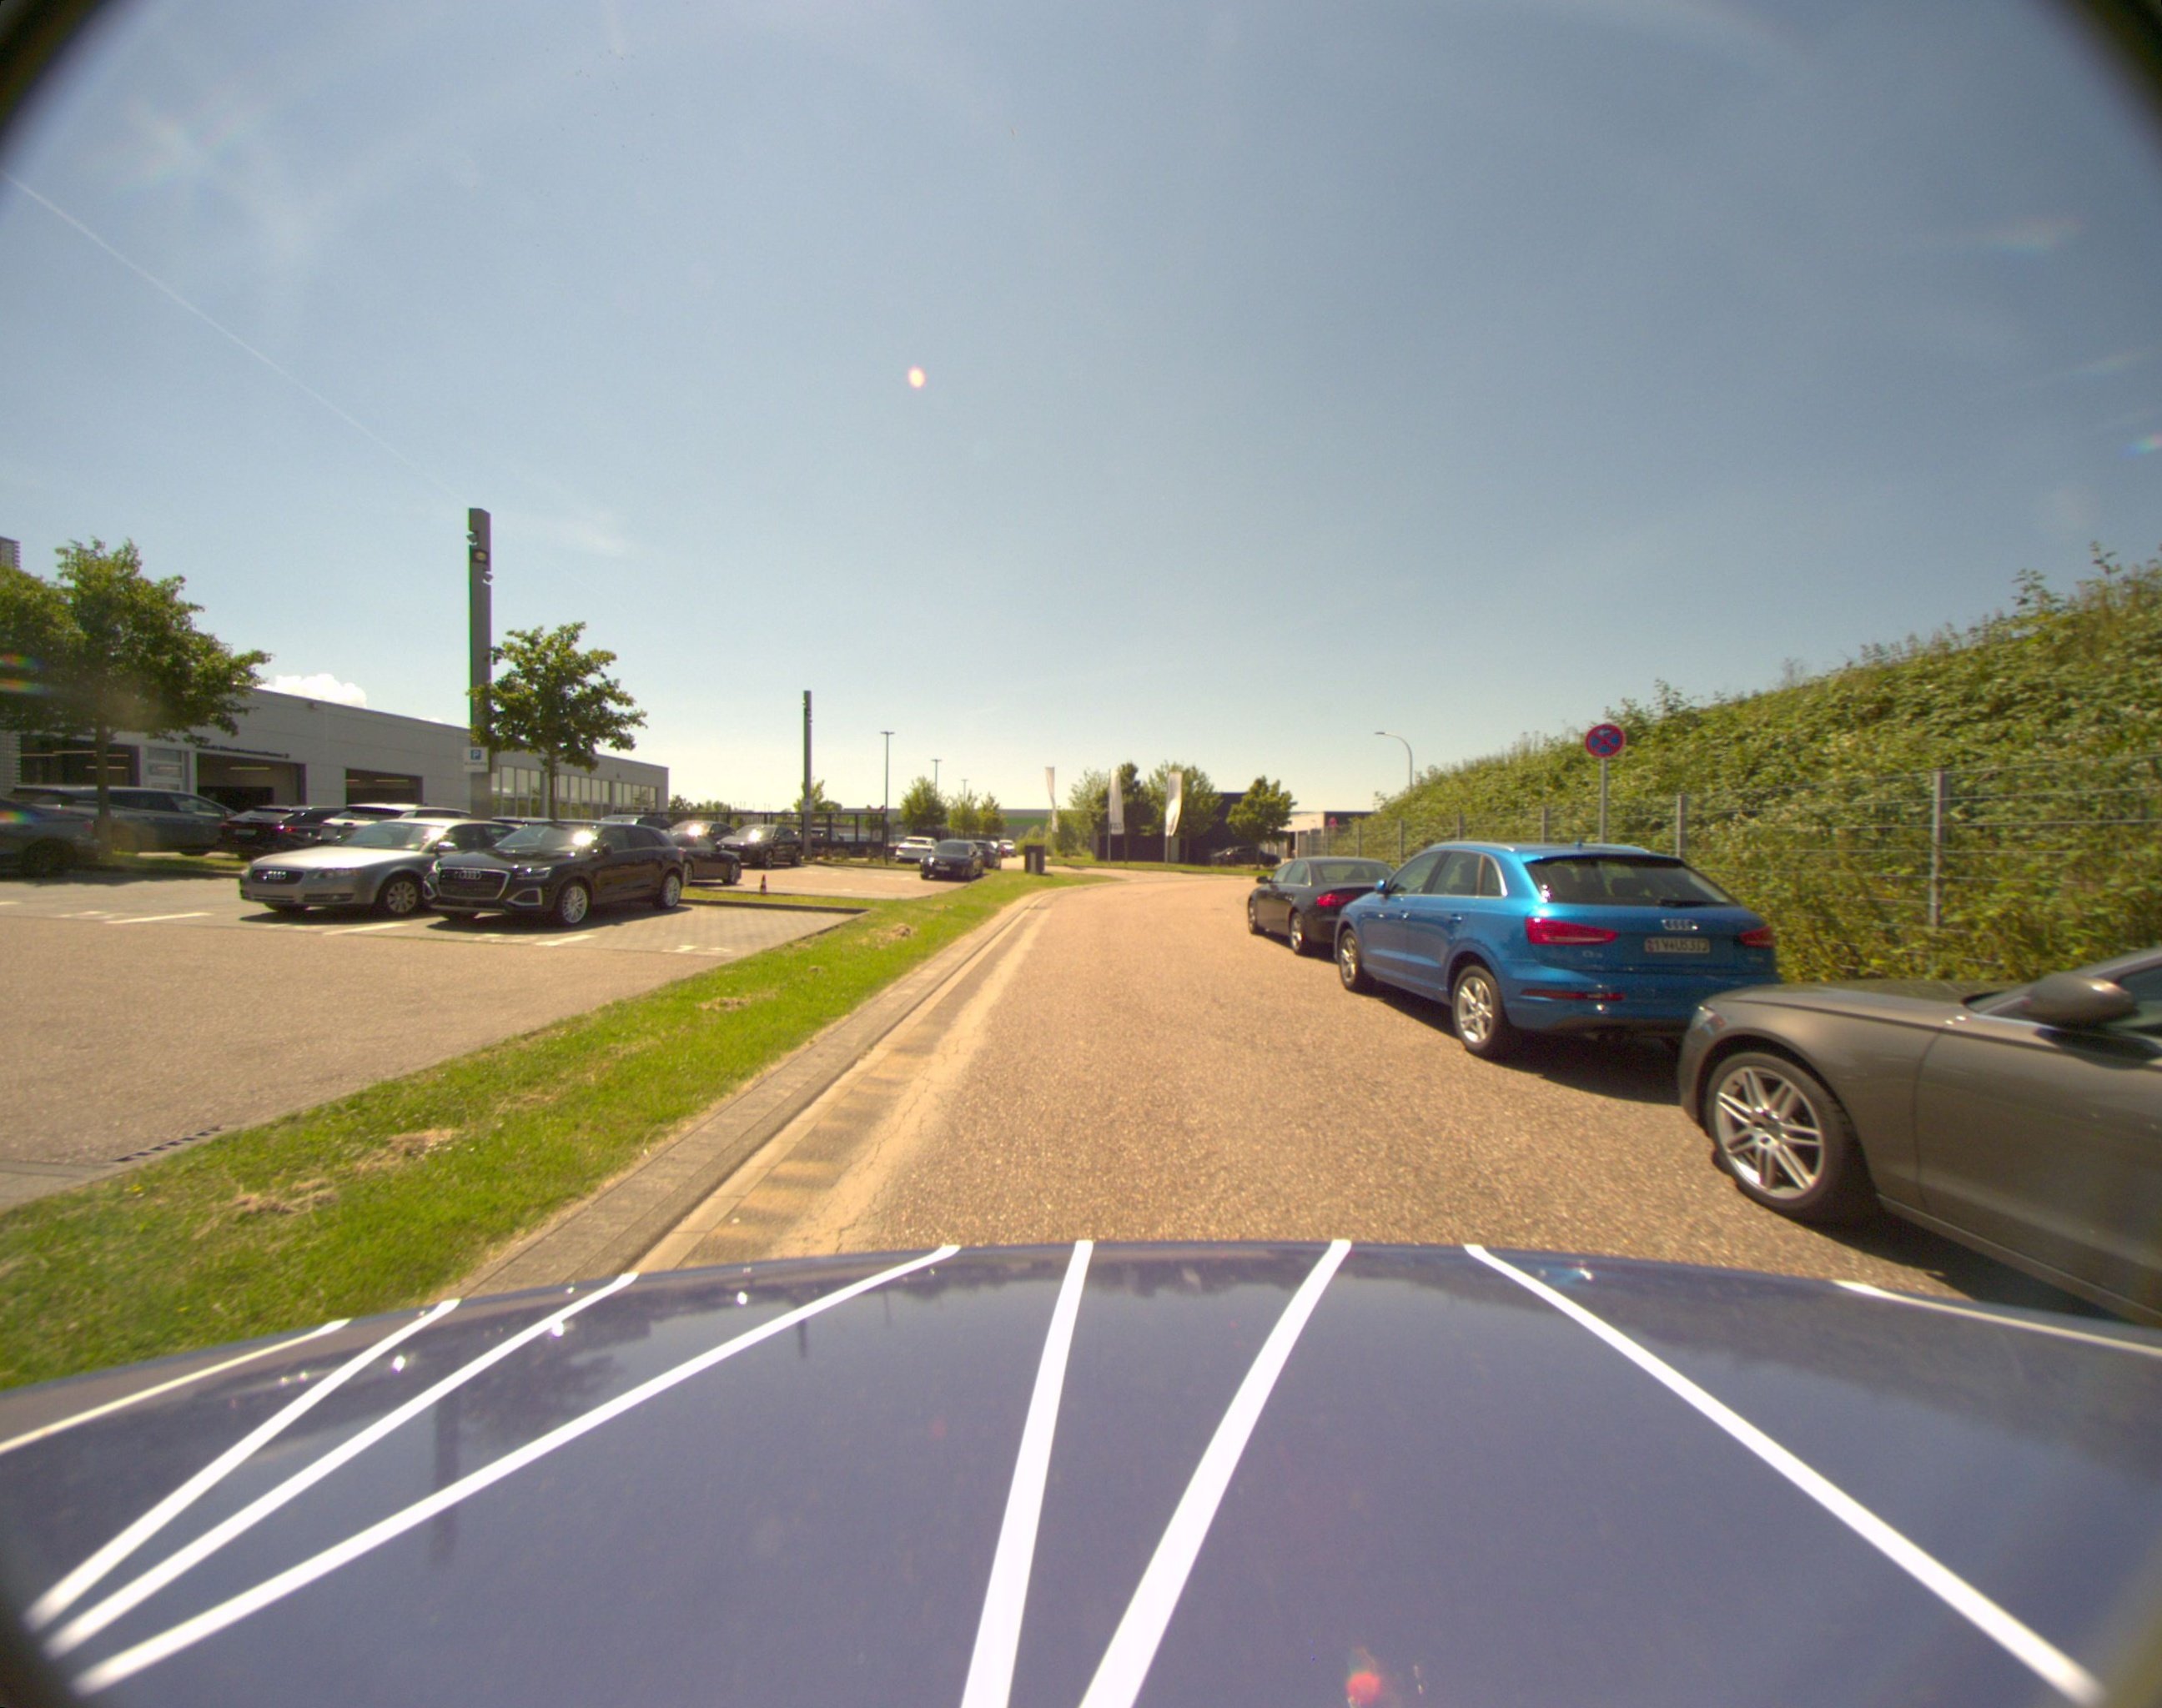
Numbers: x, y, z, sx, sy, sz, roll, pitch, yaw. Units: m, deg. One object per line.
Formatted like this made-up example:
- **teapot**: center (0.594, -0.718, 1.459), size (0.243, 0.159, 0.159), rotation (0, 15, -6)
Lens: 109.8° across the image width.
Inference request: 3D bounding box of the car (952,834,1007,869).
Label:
- **car**: center (-4.773, -0.147, 36.518), size (1.966, 1.459, 4.944), rotation (2, 1, -1)

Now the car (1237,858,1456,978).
- **car**: center (3.890, 0.833, 12.091), size (1.829, 1.446, 4.580), rotation (1, 1, -1)

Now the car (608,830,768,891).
- **car**: center (-10.159, 0.144, 20.084), size (1.966, 1.367, 4.311), rotation (2, 0, -1)

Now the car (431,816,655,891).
- **car**: center (-12.908, -0.045, 18.754), size (1.966, 1.544, 5.004), rotation (2, 1, -1)

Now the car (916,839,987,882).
- **car**: center (-4.928, 0.200, 29.639), size (1.884, 1.446, 5.023), rotation (3, 1, -1)

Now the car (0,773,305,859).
- **car**: center (-22.014, -0.834, 18.229), size (1.966, 1.729, 4.728), rotation (2, 1, -1)

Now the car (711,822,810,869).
- **car**: center (-12.286, -0.334, 29.472), size (1.829, 1.634, 4.785), rotation (2, 1, -1)

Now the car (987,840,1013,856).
- **car**: center (-7.539, -0.595, 70.876), size (1.779, 1.349, 4.172), rotation (2, 1, 2)

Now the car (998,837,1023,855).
- **car**: center (-7.082, -0.818, 76.641), size (1.823, 1.637, 4.396), rotation (2, 1, 2)

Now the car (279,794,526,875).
- **car**: center (-15.627, -0.432, 17.892), size (1.966, 1.604, 4.287), rotation (2, 1, -1)

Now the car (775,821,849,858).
- **car**: center (-12.939, -0.695, 36.879), size (1.966, 1.621, 4.625), rotation (2, 1, -1)

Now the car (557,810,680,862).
- **car**: center (-17.943, -0.685, 29.785), size (1.966, 1.732, 4.625), rotation (4, 1, -1)

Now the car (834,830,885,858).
- **car**: center (-14.216, -0.634, 49.049), size (1.966, 1.621, 4.625), rotation (2, 1, -1)

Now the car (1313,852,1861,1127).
- **car**: center (3.657, 0.803, 6.680), size (1.829, 1.561, 4.385), rotation (1, 1, -1)

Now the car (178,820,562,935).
- **car**: center (-10.514, 0.268, 11.805), size (1.966, 1.359, 4.226), rotation (3, 1, -1)

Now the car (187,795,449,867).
- **car**: center (-18.195, -0.523, 18.491), size (1.966, 1.468, 4.371), rotation (2, 1, -1)

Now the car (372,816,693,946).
- **car**: center (-8.096, 0.321, 11.828), size (1.892, 1.562, 4.226), rotation (3, 1, -1)

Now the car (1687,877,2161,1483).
- **car**: center (3.694, 0.894, 1.236), size (1.829, 1.491, 4.519), rotation (1, 1, 1)

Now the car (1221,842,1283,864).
- **car**: center (12.865, -0.094, 57.370), size (4.280, 1.592, 1.780), rotation (-1, 1, 0)

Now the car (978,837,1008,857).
- **car**: center (-7.508, -0.614, 65.205), size (1.779, 1.558, 4.406), rotation (2, 1, 2)

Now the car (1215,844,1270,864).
- **car**: center (13.657, 0.004, 64.381), size (4.169, 1.558, 1.780), rotation (2, 1, 0)

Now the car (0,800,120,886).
- **car**: center (-18.339, -0.203, 11.482), size (1.966, 1.359, 4.465), rotation (3, 1, -1)

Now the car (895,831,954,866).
- **car**: center (-7.501, -0.303, 36.927), size (1.824, 1.520, 4.944), rotation (2, 1, -1)

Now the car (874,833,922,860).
- **car**: center (-11.608, -0.488, 48.570), size (1.966, 1.621, 4.625), rotation (2, 1, -1)
